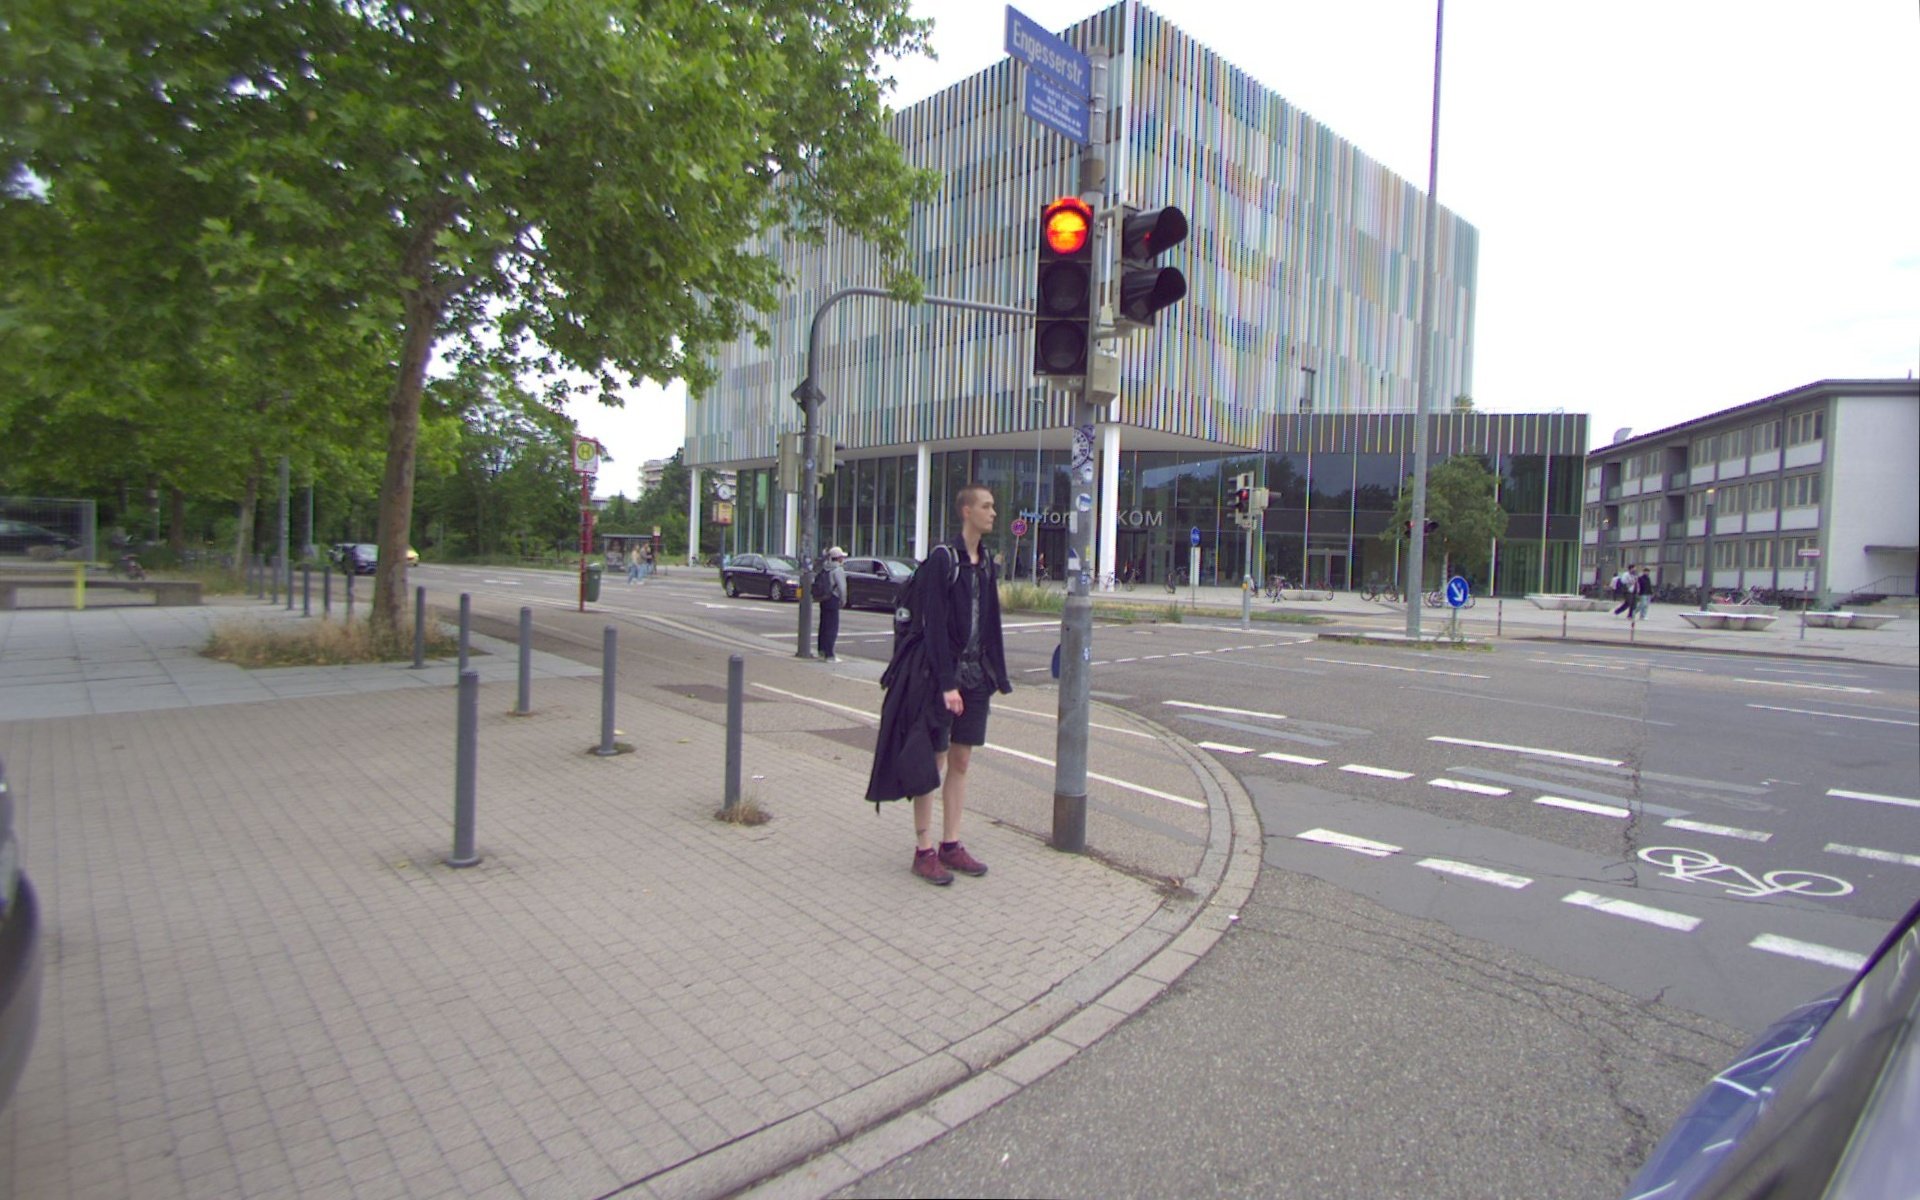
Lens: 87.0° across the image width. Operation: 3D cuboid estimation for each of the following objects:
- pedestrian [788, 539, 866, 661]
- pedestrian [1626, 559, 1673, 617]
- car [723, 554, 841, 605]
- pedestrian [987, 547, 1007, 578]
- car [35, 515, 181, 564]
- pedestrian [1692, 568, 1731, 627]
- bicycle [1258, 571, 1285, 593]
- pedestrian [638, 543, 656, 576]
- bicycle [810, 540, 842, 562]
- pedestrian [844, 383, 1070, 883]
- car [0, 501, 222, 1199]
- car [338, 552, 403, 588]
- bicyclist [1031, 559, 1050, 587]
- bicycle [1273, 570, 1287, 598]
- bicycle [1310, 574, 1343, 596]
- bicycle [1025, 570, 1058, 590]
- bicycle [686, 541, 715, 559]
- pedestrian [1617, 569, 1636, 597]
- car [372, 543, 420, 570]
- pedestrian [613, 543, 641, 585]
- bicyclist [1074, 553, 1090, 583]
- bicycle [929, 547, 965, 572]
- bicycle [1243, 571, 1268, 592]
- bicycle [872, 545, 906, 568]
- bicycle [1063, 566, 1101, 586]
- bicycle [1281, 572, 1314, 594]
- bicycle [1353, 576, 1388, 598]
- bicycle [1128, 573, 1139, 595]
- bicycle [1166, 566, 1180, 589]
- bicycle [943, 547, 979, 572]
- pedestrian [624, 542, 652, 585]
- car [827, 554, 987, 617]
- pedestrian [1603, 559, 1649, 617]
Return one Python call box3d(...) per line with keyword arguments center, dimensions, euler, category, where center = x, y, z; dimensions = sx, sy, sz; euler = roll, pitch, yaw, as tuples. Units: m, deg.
box3d(center=(-1.878, 0.000, 14.208), dimensions=(0.777, 1.647, 0.759), euler=(3, 0, -29), category="pedestrian")
box3d(center=(22.069, -0.398, 32.407), dimensions=(0.831, 1.810, 0.893), euler=(2, 2, 5), category="pedestrian")
box3d(center=(-5.706, -0.696, 32.080), dimensions=(1.965, 1.471, 3.996), euler=(-1, 3, -40), category="car")
box3d(center=(2.178, -2.194, 59.223), dimensions=(0.788, 1.810, 0.762), euler=(0, 3, -41), category="pedestrian")
box3d(center=(-33.574, -2.371, 39.977), dimensions=(1.984, 1.774, 4.023), euler=(3, 2, 30), category="car")
box3d(center=(21.685, -0.083, 29.197), dimensions=(0.607, 1.687, 0.624), euler=(1, 1, 1), category="pedestrian")
box3d(center=(14.681, -0.846, 47.780), dimensions=(0.538, 0.947, 2.012), euler=(1, 3, -3), category="bicycle")
box3d(center=(-17.655, -2.292, 57.090), dimensions=(0.794, 1.832, 0.588), euler=(0, 2, -39), category="pedestrian")
box3d(center=(-8.842, -3.222, 66.832), dimensions=(2.069, 1.275, 0.627), euler=(3, -1, -45), category="bicycle")
box3d(center=(-0.044, 0.124, 4.492), dimensions=(0.742, 1.976, 0.795), euler=(1, 2, -18), category="pedestrian")
box3d(center=(-3.297, 0.578, 0.984), dimensions=(4.035, 1.519, 1.625), euler=(-1, 5, -42), category="car")
box3d(center=(-27.283, -1.387, 46.758), dimensions=(1.964, 1.530, 3.996), euler=(0, 2, -40), category="car")
box3d(center=(4.124, -1.389, 51.848), dimensions=(0.607, 1.399, 0.719), euler=(1, 2, -33), category="bicyclist")
box3d(center=(12.806, -0.642, 40.477), dimensions=(0.477, 1.058, 1.774), euler=(2, 3, 18), category="bicycle")
box3d(center=(17.067, -0.729, 47.181), dimensions=(0.474, 0.947, 2.015), euler=(1, 3, -11), category="bicycle")
box3d(center=(4.151, -1.038, 51.831), dimensions=(0.607, 0.937, 1.918), euler=(1, 2, -33), category="bicycle")
box3d(center=(-20.256, -3.877, 79.054), dimensions=(2.069, 1.275, 0.627), euler=(3, -1, -45), category="bicycle")
box3d(center=(43.933, -1.155, 66.684), dimensions=(0.764, 1.811, 0.759), euler=(2, 2, 13), category="pedestrian")
box3d(center=(-37.134, -2.890, 66.587), dimensions=(1.964, 1.638, 4.190), euler=(0, 2, -40), category="car")
box3d(center=(-14.447, -1.565, 43.948), dimensions=(0.885, 1.810, 0.709), euler=(2, 1, 23), category="pedestrian")
box3d(center=(6.067, -1.590, 50.508), dimensions=(0.593, 1.487, 0.485), euler=(0, 2, -25), category="bicyclist")
box3d(center=(-0.751, -2.338, 58.436), dimensions=(2.065, 1.275, 0.628), euler=(3, -1, -38), category="bicycle")
box3d(center=(13.956, -0.881, 47.815), dimensions=(0.474, 0.947, 2.012), euler=(1, 3, -3), category="bicycle")
box3d(center=(-4.380, -2.666, 62.614), dimensions=(2.065, 1.275, 0.628), euler=(3, -1, -38), category="bicycle")
box3d(center=(6.093, -1.197, 50.535), dimensions=(1.877, 0.937, 0.485), euler=(0, 2, -25), category="bicycle")
box3d(center=(15.746, -0.792, 47.234), dimensions=(0.474, 0.947, 2.015), euler=(1, 3, -11), category="bicycle")
box3d(center=(19.209, -0.603, 47.389), dimensions=(0.474, 0.947, 2.015), euler=(1, 3, -11), category="bicycle")
box3d(center=(8.832, -0.839, 51.493), dimensions=(0.476, 1.058, 1.912), euler=(2, 2, 8), category="bicycle")
box3d(center=(10.266, -1.093, 48.754), dimensions=(0.476, 1.058, 1.913), euler=(2, 3, 8), category="bicycle")
box3d(center=(0.054, -2.306, 57.527), dimensions=(2.065, 1.275, 0.628), euler=(3, -1, -38), category="bicycle")
box3d(center=(-13.743, -1.572, 43.229), dimensions=(0.885, 1.810, 0.709), euler=(2, 1, 23), category="pedestrian")
box3d(center=(-1.469, -0.450, 26.681), dimensions=(1.967, 1.507, 4.284), euler=(-2, 3, -43), category="car")
box3d(center=(21.378, -0.400, 32.505), dimensions=(0.831, 1.810, 0.893), euler=(2, 2, 5), category="pedestrian")
